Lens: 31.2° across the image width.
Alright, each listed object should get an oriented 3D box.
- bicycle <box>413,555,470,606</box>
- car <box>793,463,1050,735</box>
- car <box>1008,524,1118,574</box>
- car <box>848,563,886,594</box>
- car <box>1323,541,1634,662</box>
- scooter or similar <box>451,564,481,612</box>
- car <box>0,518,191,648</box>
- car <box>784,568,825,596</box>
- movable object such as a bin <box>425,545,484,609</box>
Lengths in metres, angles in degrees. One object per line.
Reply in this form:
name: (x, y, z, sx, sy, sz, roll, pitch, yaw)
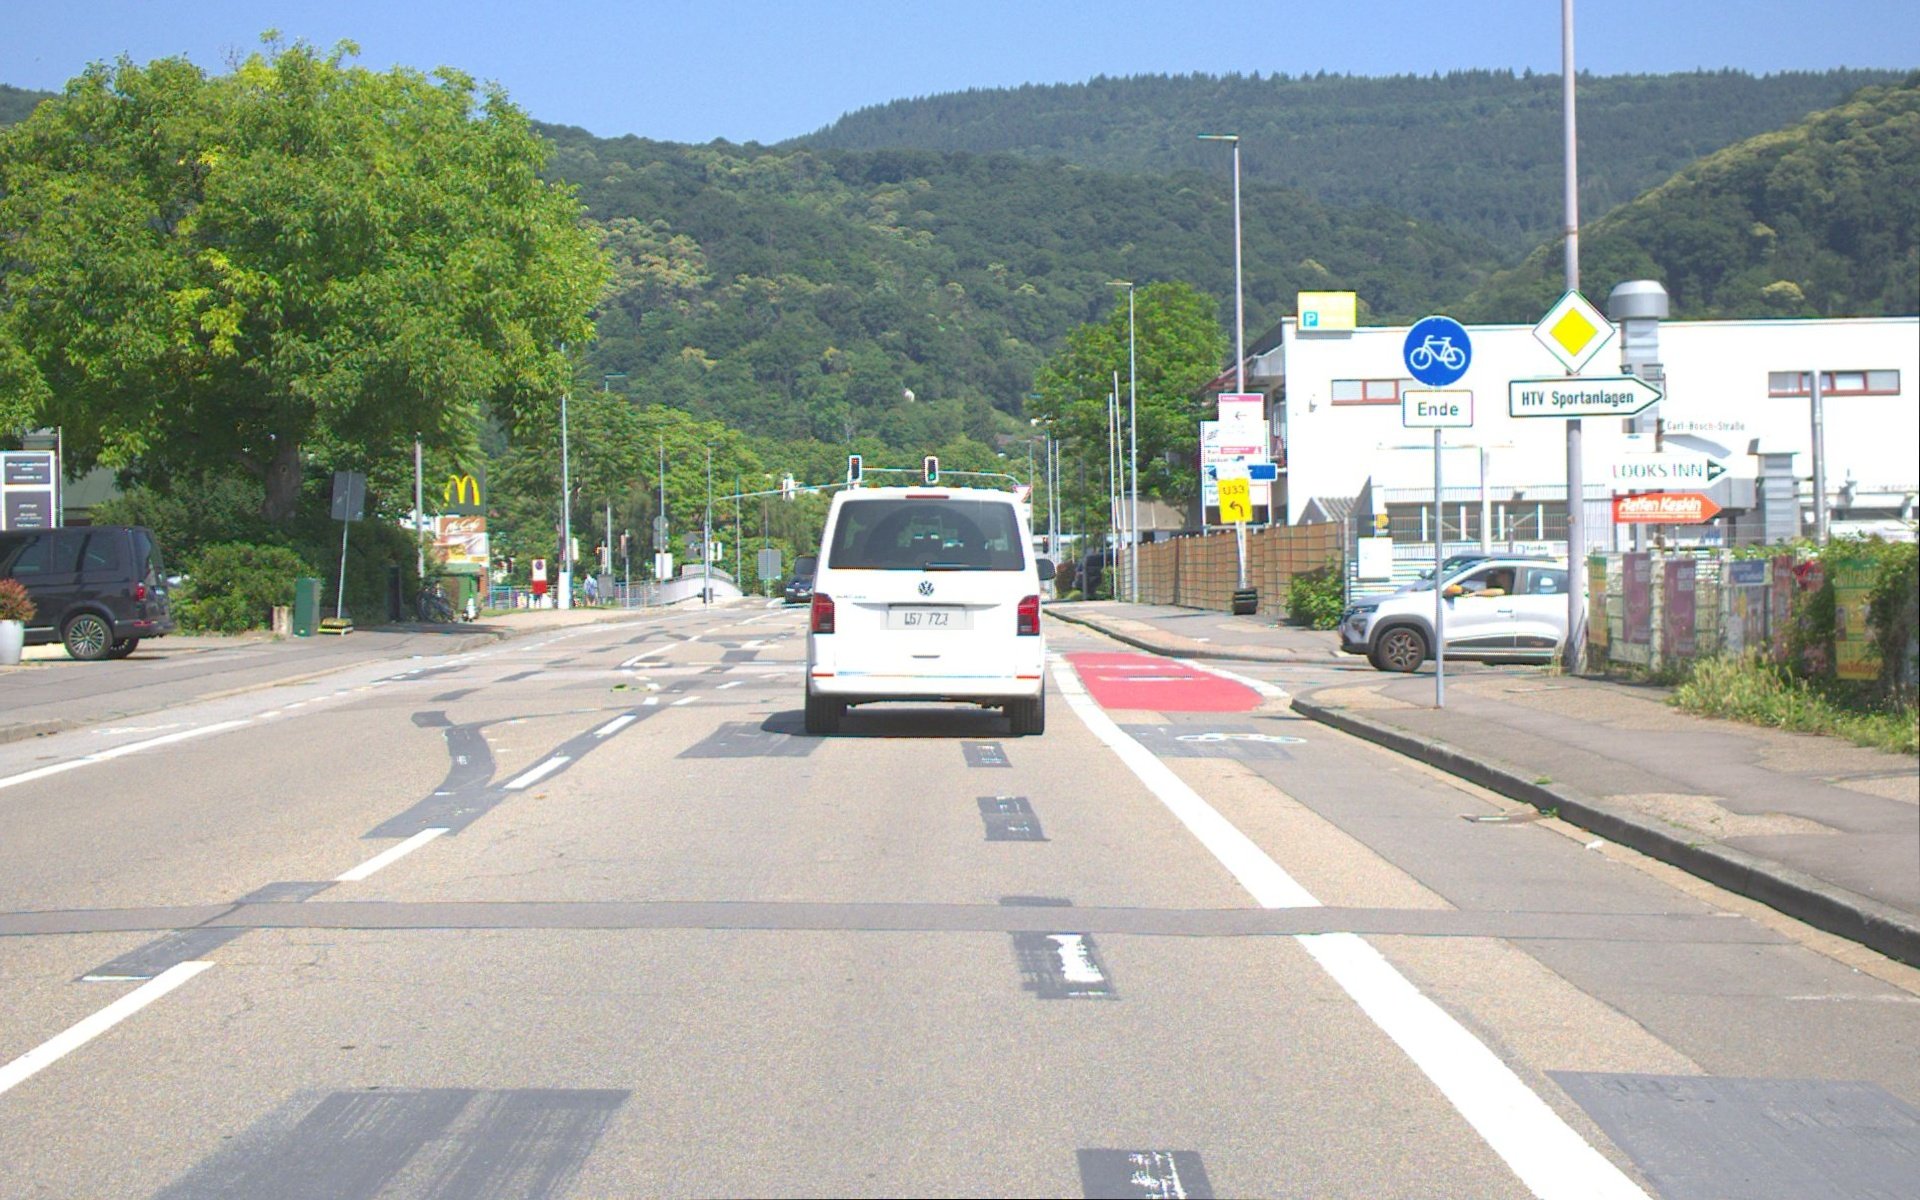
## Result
bicycle: (-11.823, -0.459, 78.438, 1.026, 1.114, 2.766, 2, 1, -4)
car: (-0.383, -0.035, 28.503, 1.934, 2.052, 4.545, 1, 1, -2)
car: (3.914, -1.924, 129.687, 3.988, 1.769, 2.000, -1, 1, 6)
car: (-4.852, -1.138, 179.355, 1.849, 1.583, 4.000, -1, 1, 0)
car: (6.446, 0.003, 43.041, 3.665, 1.479, 1.728, 0, 1, 2)
scooter or similar: (-11.810, -0.289, 82.179, 0.646, 1.124, 1.623, 2, 1, -7)
car: (-13.720, -0.257, 50.361, 4.565, 1.859, 2.093, 0, 1, -5)
car: (-7.905, -0.942, 174.818, 1.993, 1.365, 4.327, -1, 1, -2)
movable object such as a bin: (-12.928, -0.592, 87.899, 1.447, 1.585, 1.307, -1, 1, -9)
